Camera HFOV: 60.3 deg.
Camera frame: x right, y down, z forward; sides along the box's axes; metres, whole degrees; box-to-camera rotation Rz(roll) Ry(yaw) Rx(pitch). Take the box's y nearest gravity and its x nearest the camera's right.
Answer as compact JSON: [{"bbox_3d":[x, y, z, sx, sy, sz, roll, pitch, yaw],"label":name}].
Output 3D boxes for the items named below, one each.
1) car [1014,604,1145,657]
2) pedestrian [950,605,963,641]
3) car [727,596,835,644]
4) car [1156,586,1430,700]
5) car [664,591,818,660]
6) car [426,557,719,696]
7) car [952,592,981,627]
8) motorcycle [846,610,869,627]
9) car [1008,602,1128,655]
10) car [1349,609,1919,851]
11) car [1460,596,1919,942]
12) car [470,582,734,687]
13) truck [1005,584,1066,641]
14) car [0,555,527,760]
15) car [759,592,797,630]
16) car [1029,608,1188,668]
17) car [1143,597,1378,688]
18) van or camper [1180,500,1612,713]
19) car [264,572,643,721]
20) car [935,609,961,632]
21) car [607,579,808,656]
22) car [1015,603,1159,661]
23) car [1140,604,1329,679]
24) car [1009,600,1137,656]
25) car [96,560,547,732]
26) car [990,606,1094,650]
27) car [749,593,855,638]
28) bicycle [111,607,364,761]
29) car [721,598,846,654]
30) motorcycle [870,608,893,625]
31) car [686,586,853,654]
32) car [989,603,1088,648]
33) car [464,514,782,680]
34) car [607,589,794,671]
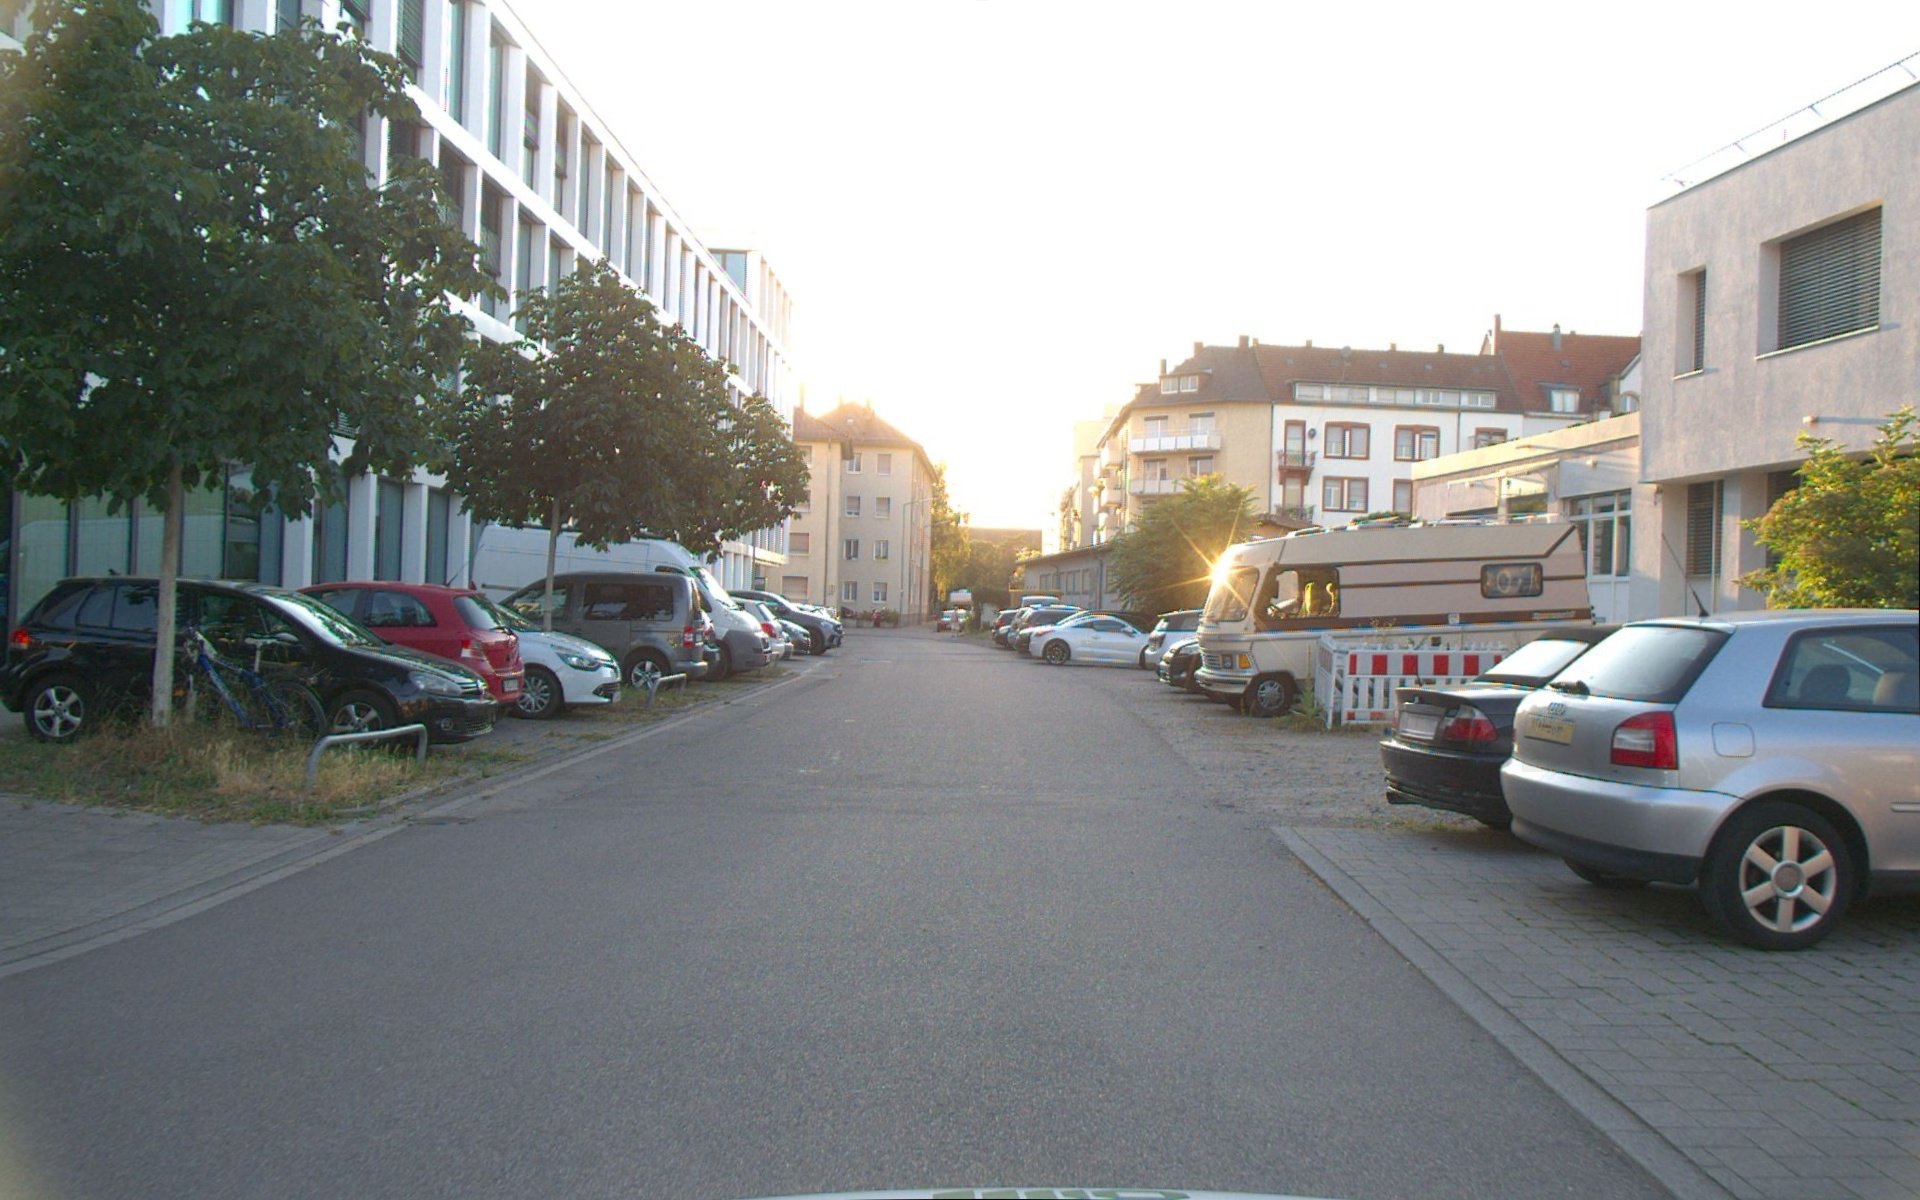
[{"bbox_3d":[3.733,0.955,51.950,3.903,1.471,1.826,3,-1,-2],"label":"car"},{"bbox_3d":[-0.198,1.335,94.980,0.562,2.049,0.556,2,0,20],"label":"pedestrian"},{"bbox_3d":[-6.366,0.702,59.084,3.580,1.537,1.687,3,0,0],"label":"car"},{"bbox_3d":[5.413,0.690,27.309,4.152,1.771,1.968,0,-1,2],"label":"car"},{"bbox_3d":[-5.579,0.644,42.523,3.705,1.549,1.693,3,0,-2],"label":"car"},{"bbox_3d":[-5.814,0.385,25.230,4.027,1.848,1.814,3,0,-4],"label":"car"},{"bbox_3d":[0.649,0.899,160.883,2.565,3.326,7.698,0,0,2],"label":"car"},{"bbox_3d":[-6.887,1.238,110.941,0.708,1.098,2.080,2,-1,22],"label":"motorcycle"},{"bbox_3d":[3.697,0.975,57.197,3.905,1.637,1.938,3,0,-3],"label":"car"},{"bbox_3d":[4.805,0.759,10.406,4.230,1.357,1.895,1,-1,-4],"label":"car"},{"bbox_3d":[4.696,0.707,7.984,3.975,1.432,1.895,0,0,-4],"label":"car"},{"bbox_3d":[-5.910,0.559,27.684,4.027,1.525,1.773,3,0,-4],"label":"car"},{"bbox_3d":[3.085,0.516,68.756,2.055,2.239,5.708,2,0,-2],"label":"truck"},{"bbox_3d":[-6.184,0.481,14.898,4.025,1.545,1.844,3,0,-2],"label":"car"},{"bbox_3d":[-10.317,0.614,94.152,1.762,2.014,4.687,2,0,-2],"label":"car"},{"bbox_3d":[3.931,1.005,44.334,4.116,1.391,1.823,3,0,2],"label":"car"},{"bbox_3d":[5.455,0.756,30.285,3.927,1.591,1.710,1,0,-6],"label":"car"},{"bbox_3d":[6.275,0.112,24.303,5.665,2.914,2.485,1,-1,-3],"label":"van or camper"},{"bbox_3d":[-6.096,0.540,20.245,4.025,1.545,1.780,3,0,-1],"label":"car"},{"bbox_3d":[-0.829,1.424,115.511,1.807,1.499,4.078,1,0,0],"label":"car"},{"bbox_3d":[-5.727,0.391,37.877,4.219,1.521,1.795,3,0,1],"label":"car"},{"bbox_3d":[3.755,0.956,49.520,4.117,1.529,1.889,3,-1,-1],"label":"car"},{"bbox_3d":[5.724,0.846,34.737,3.631,1.505,1.711,1,0,-4],"label":"car"},{"bbox_3d":[3.705,0.924,54.679,3.907,1.647,1.825,3,0,-6],"label":"car"},{"bbox_3d":[-6.697,0.464,17.689,4.025,1.545,1.845,3,0,-1],"label":"car"},{"bbox_3d":[3.046,1.057,62.046,3.685,1.470,1.844,3,-1,-3],"label":"car"},{"bbox_3d":[-6.060,0.594,63.665,3.846,1.537,1.688,3,0,1],"label":"car"},{"bbox_3d":[-5.595,0.641,12.852,1.661,1.084,0.566,3,0,0],"label":"bicycle"},{"bbox_3d":[-5.462,0.789,51.467,3.590,1.537,1.697,3,0,3],"label":"car"},{"bbox_3d":[-5.400,1.139,113.389,0.675,1.181,2.032,1,-1,25],"label":"motorcycle"},{"bbox_3d":[-5.574,0.562,48.765,4.522,1.736,2.005,3,0,3],"label":"car"},{"bbox_3d":[3.037,0.985,64.489,3.683,1.562,1.891,3,1,-1],"label":"car"},{"bbox_3d":[-6.090,-0.063,30.378,5.270,2.678,2.078,3,0,1],"label":"car"},{"bbox_3d":[-5.469,0.616,35.161,3.632,1.521,1.707,3,0,-1],"label":"car"}]
